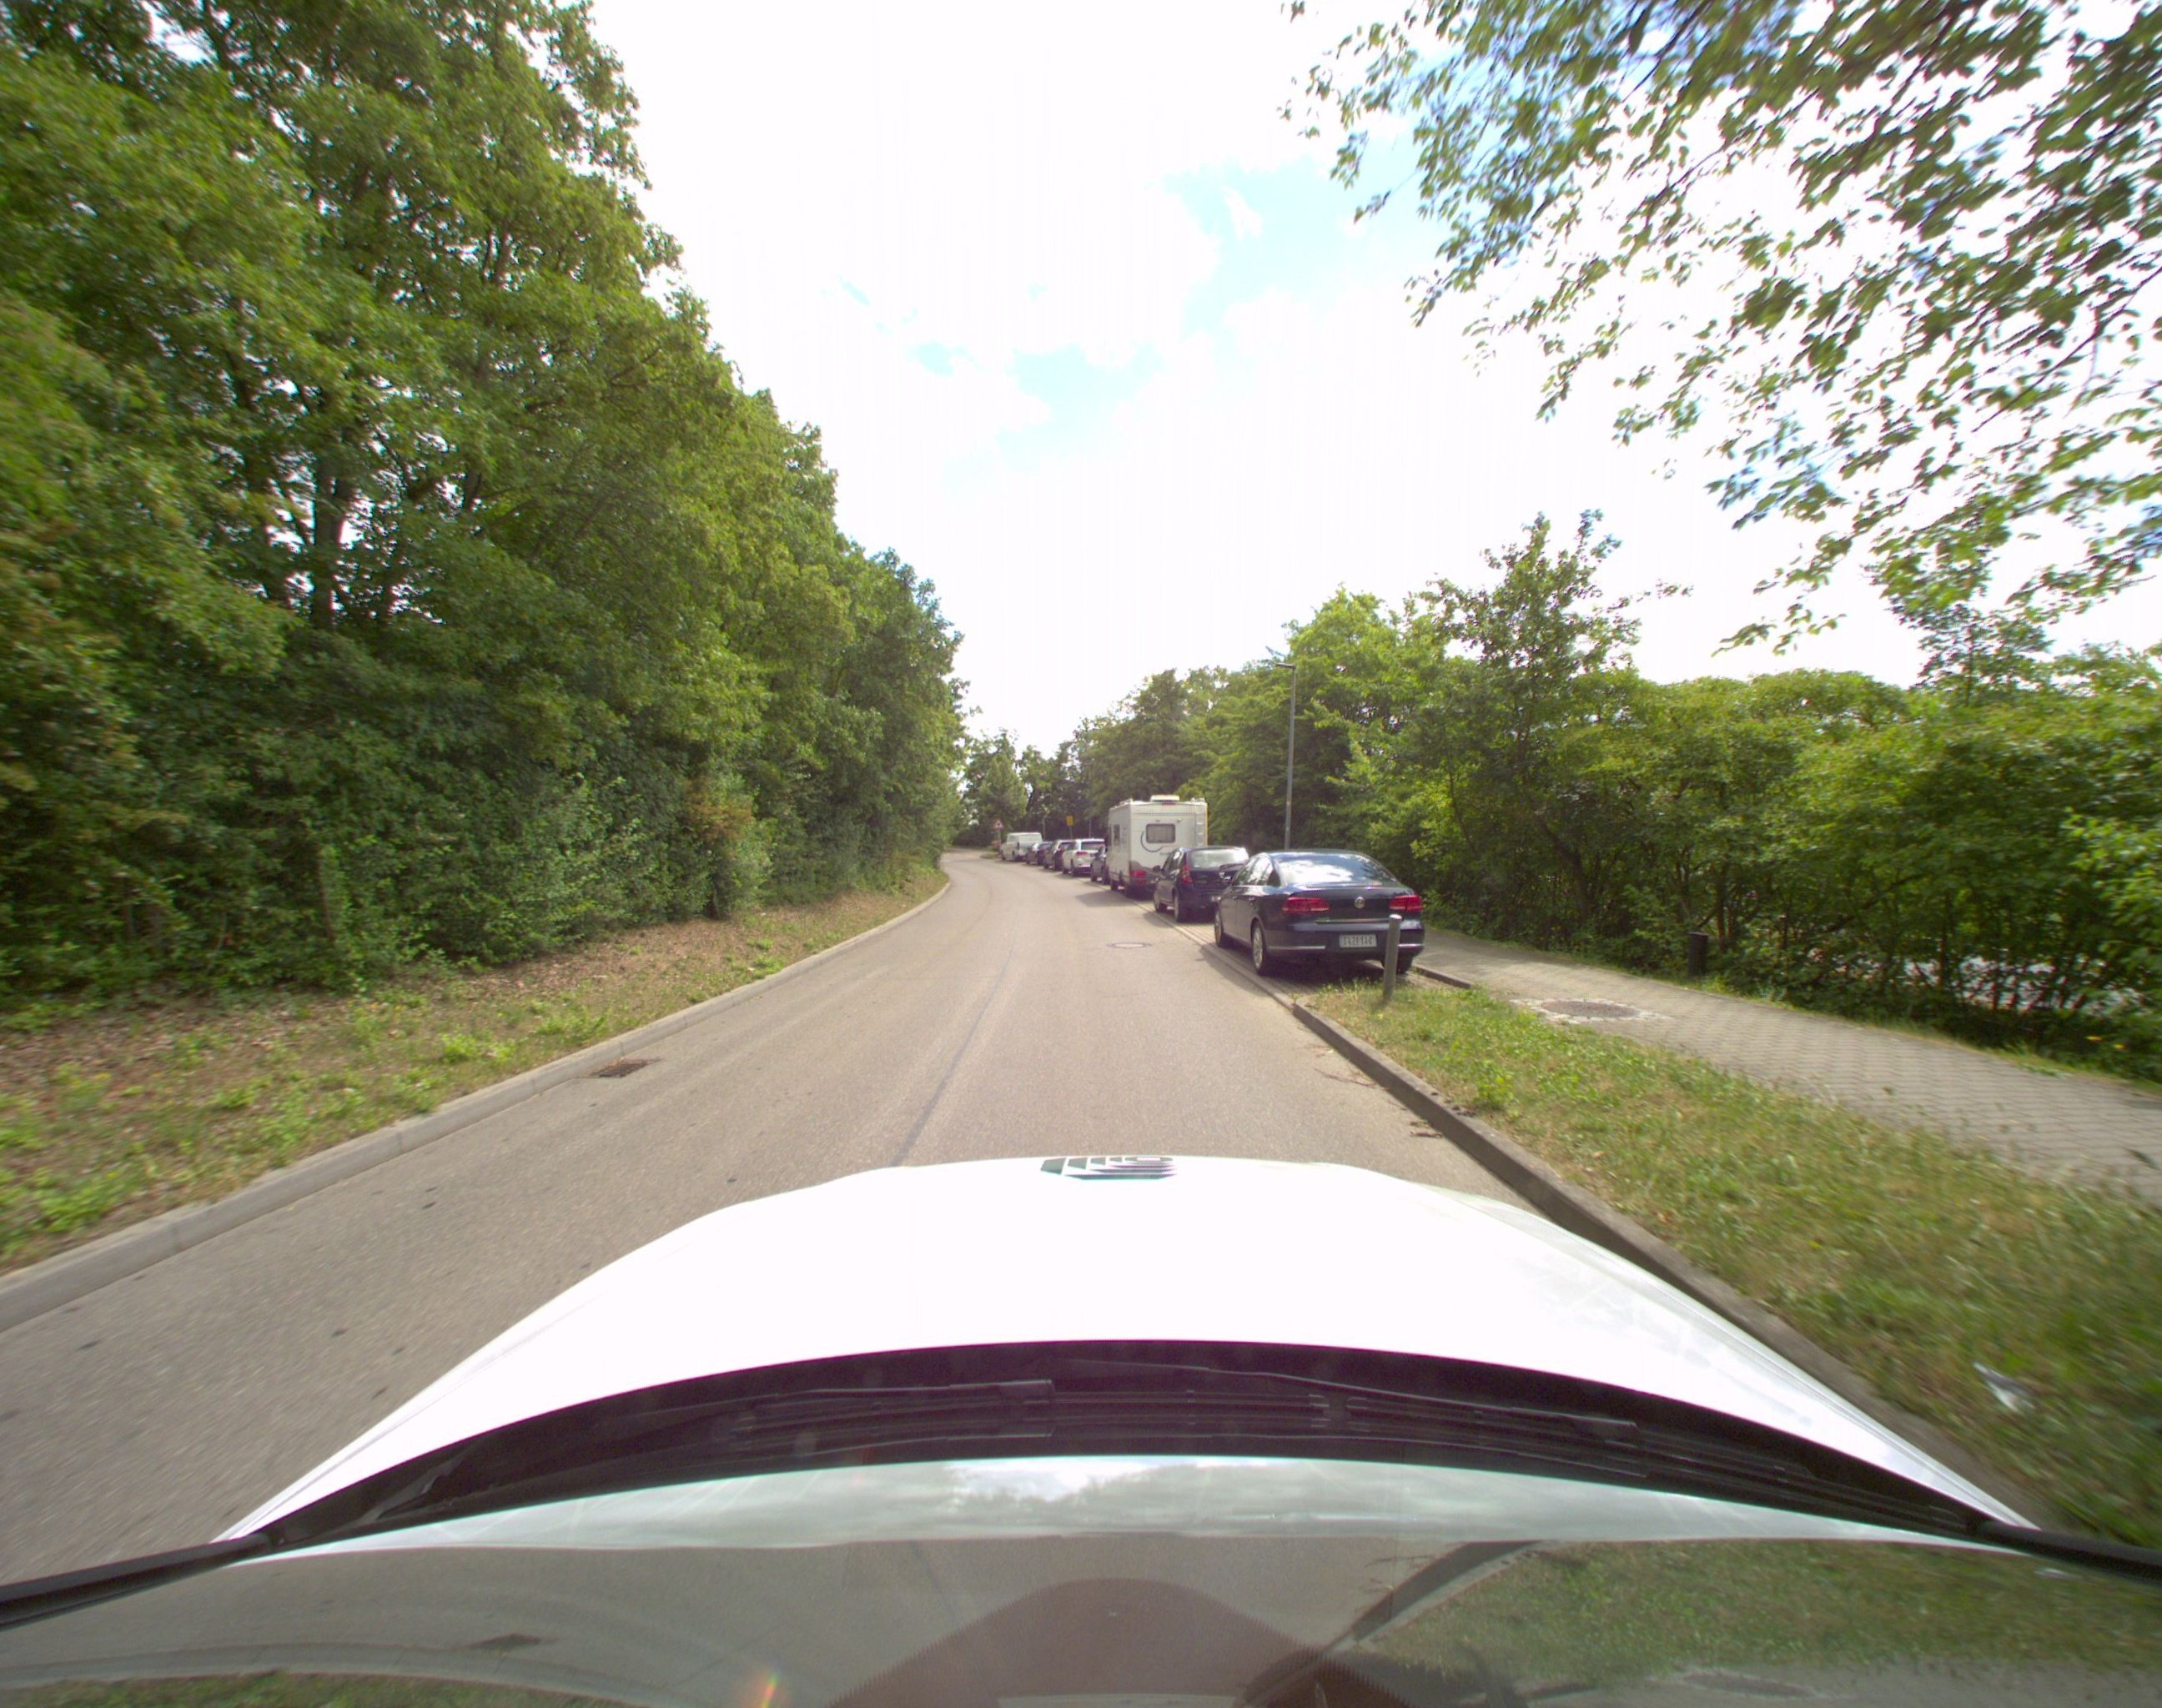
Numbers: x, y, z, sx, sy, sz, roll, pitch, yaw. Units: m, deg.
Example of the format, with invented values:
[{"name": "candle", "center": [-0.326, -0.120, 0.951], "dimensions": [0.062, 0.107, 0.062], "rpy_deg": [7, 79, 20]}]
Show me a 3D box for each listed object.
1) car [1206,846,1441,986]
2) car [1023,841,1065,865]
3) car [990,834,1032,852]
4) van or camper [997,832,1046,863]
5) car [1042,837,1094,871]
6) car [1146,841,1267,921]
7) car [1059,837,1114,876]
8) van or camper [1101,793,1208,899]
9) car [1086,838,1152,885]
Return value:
[{"name": "car", "center": [2.886, 0.633, 10.737], "dimensions": [1.770, 1.434, 4.332], "rpy_deg": [-1, 1, 0]}, {"name": "car", "center": [-2.369, -0.090, 51.093], "dimensions": [1.801, 1.464, 3.979], "rpy_deg": [-1, 1, -16]}, {"name": "car", "center": [-6.501, -1.032, 75.332], "dimensions": [3.544, 1.480, 1.772], "rpy_deg": [-1, 3, -17]}, {"name": "van or camper", "center": [-4.197, -0.498, 56.590], "dimensions": [2.000, 1.919, 5.232], "rpy_deg": [-2, 2, -19]}, {"name": "car", "center": [-0.772, -0.073, 44.342], "dimensions": [1.995, 1.626, 4.261], "rpy_deg": [-3, 2, -12]}, {"name": "car", "center": [2.619, 0.541, 17.873], "dimensions": [1.726, 1.519, 3.882], "rpy_deg": [-1, 0, -5]}, {"name": "car", "center": [0.203, 0.068, 38.633], "dimensions": [1.871, 1.689, 4.565], "rpy_deg": [0, 1, -9]}, {"name": "van or camper", "center": [2.094, -0.247, 25.386], "dimensions": [2.328, 2.869, 6.140], "rpy_deg": [0, 1, -5]}, {"name": "car", "center": [1.397, 0.242, 31.616], "dimensions": [1.710, 1.591, 3.987], "rpy_deg": [-3, 1, -9]}]
